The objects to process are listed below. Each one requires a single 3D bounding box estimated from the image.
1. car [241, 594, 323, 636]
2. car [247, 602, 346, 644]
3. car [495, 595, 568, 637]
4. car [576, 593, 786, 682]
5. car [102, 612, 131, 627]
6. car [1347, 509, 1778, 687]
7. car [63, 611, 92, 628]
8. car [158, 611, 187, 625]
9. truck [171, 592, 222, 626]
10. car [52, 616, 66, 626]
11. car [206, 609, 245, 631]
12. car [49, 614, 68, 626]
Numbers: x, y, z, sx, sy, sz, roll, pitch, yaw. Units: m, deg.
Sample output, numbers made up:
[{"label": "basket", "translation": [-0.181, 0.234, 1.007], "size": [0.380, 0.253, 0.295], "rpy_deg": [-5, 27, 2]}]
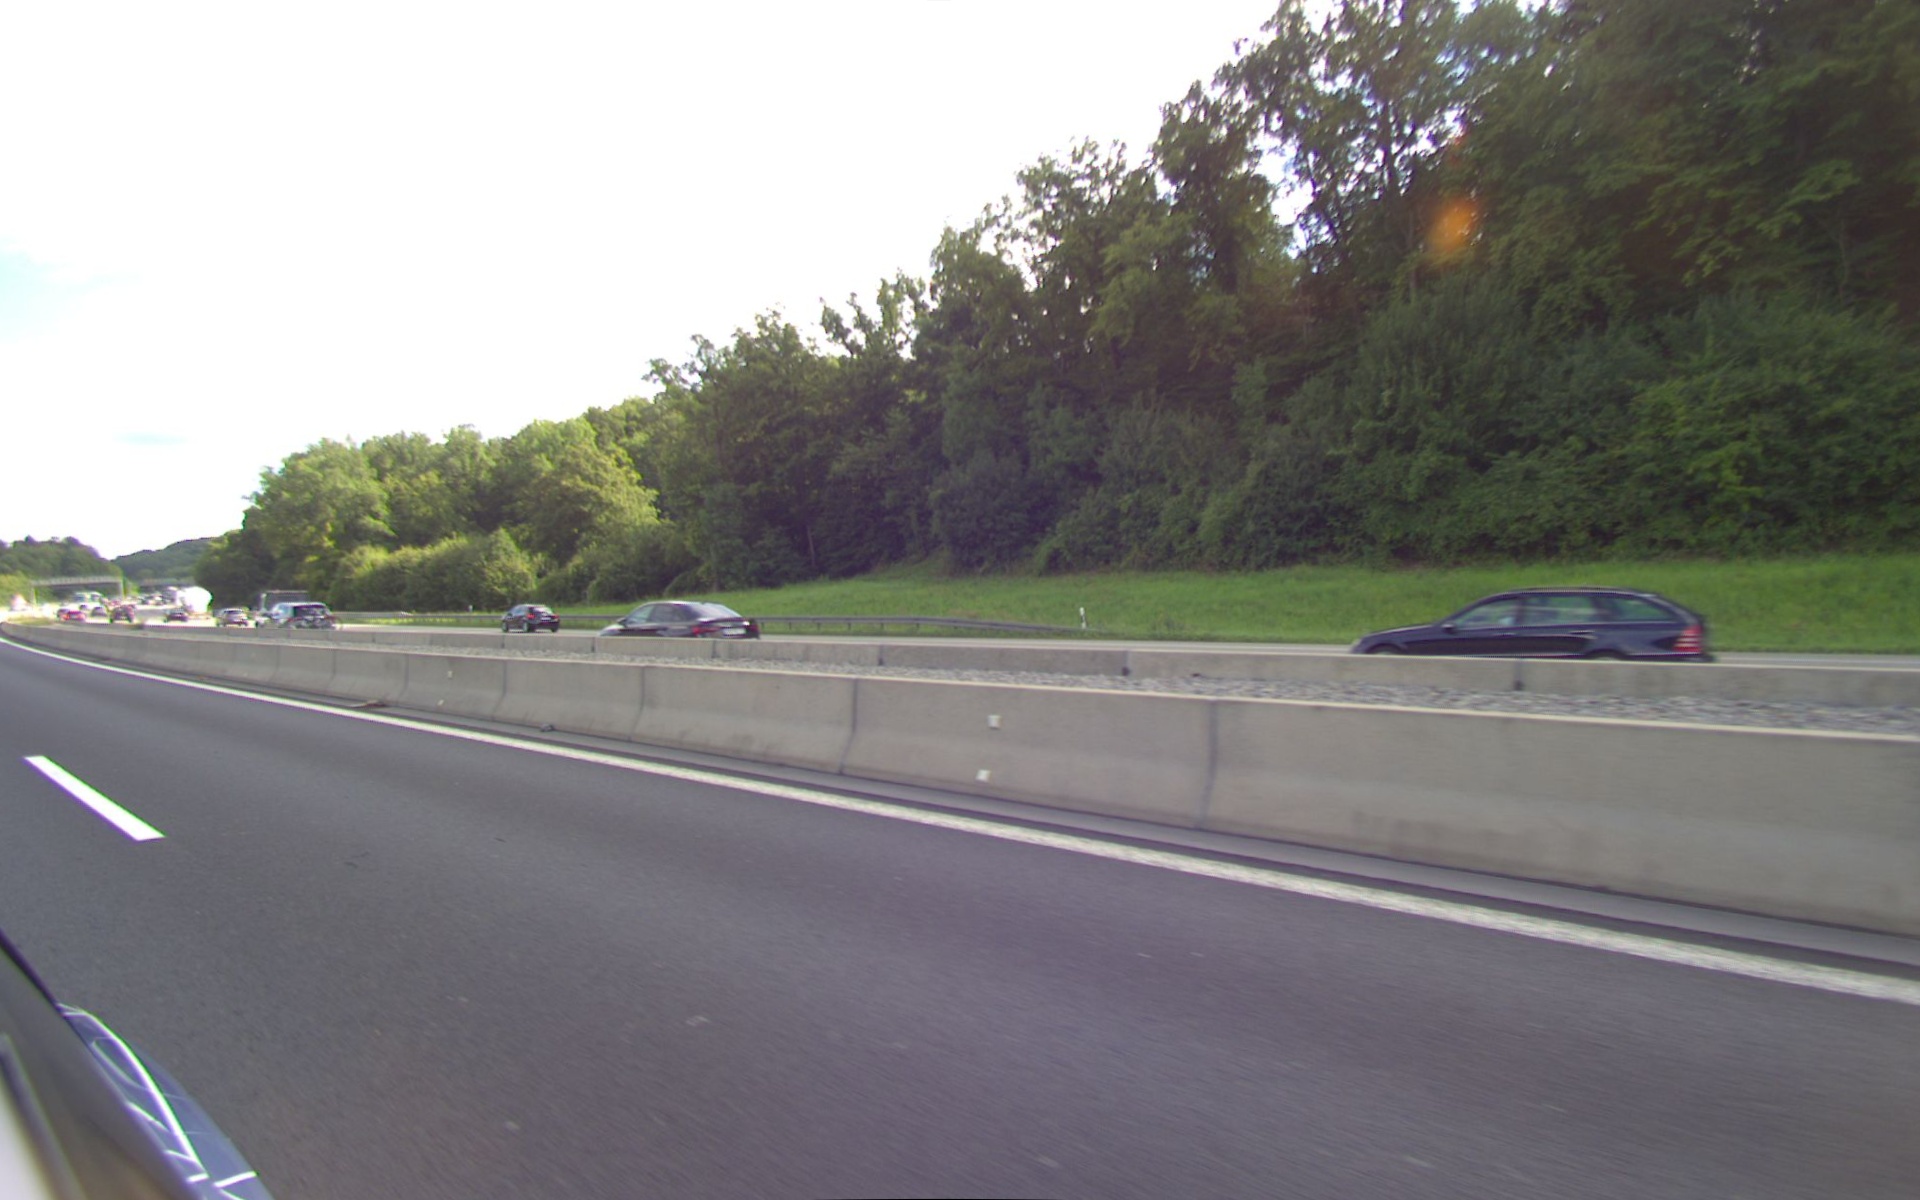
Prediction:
[{"label": "car", "translation": [-37.590, 0.817, 55.967], "size": [8.080, 2.146, 2.176], "rpy_deg": [-1, 0, 45]}, {"label": "car", "translation": [-26.469, 0.892, 40.300], "size": [5.961, 1.521, 1.961], "rpy_deg": [-1, 0, 43]}, {"label": "car", "translation": [-22.293, 0.836, 52.614], "size": [3.999, 2.050, 1.972], "rpy_deg": [-1, 0, 43]}, {"label": "car", "translation": [-5.865, 0.696, 20.941], "size": [4.777, 1.639, 1.972], "rpy_deg": [0, 0, 43]}, {"label": "car", "translation": [-92.264, 2.137, 110.636], "size": [2.013, 1.627, 5.042], "rpy_deg": [-1, 0, -45]}, {"label": "car", "translation": [8.064, -0.022, 13.861], "size": [4.777, 2.029, 1.972], "rpy_deg": [0, 0, 43]}, {"label": "car", "translation": [-90.197, 1.964, 103.411], "size": [4.484, 1.618, 1.781], "rpy_deg": [-1, 0, 44]}, {"label": "car", "translation": [-84.472, 1.904, 108.534], "size": [1.879, 1.476, 4.344], "rpy_deg": [-1, 0, -45]}, {"label": "truck", "translation": [-98.462, 1.176, 130.378], "size": [3.411, 4.158, 13.687], "rpy_deg": [-1, 0, -45]}, {"label": "car", "translation": [-141.793, 3.238, 159.275], "size": [1.579, 1.509, 4.067], "rpy_deg": [-1, 0, -43]}, {"label": "car", "translation": [-60.561, 1.644, 83.410], "size": [4.189, 1.651, 1.708], "rpy_deg": [-1, 0, 41]}, {"label": "car", "translation": [-122.756, 2.758, 137.802], "size": [3.844, 1.542, 1.580], "rpy_deg": [-1, 0, 44]}]
